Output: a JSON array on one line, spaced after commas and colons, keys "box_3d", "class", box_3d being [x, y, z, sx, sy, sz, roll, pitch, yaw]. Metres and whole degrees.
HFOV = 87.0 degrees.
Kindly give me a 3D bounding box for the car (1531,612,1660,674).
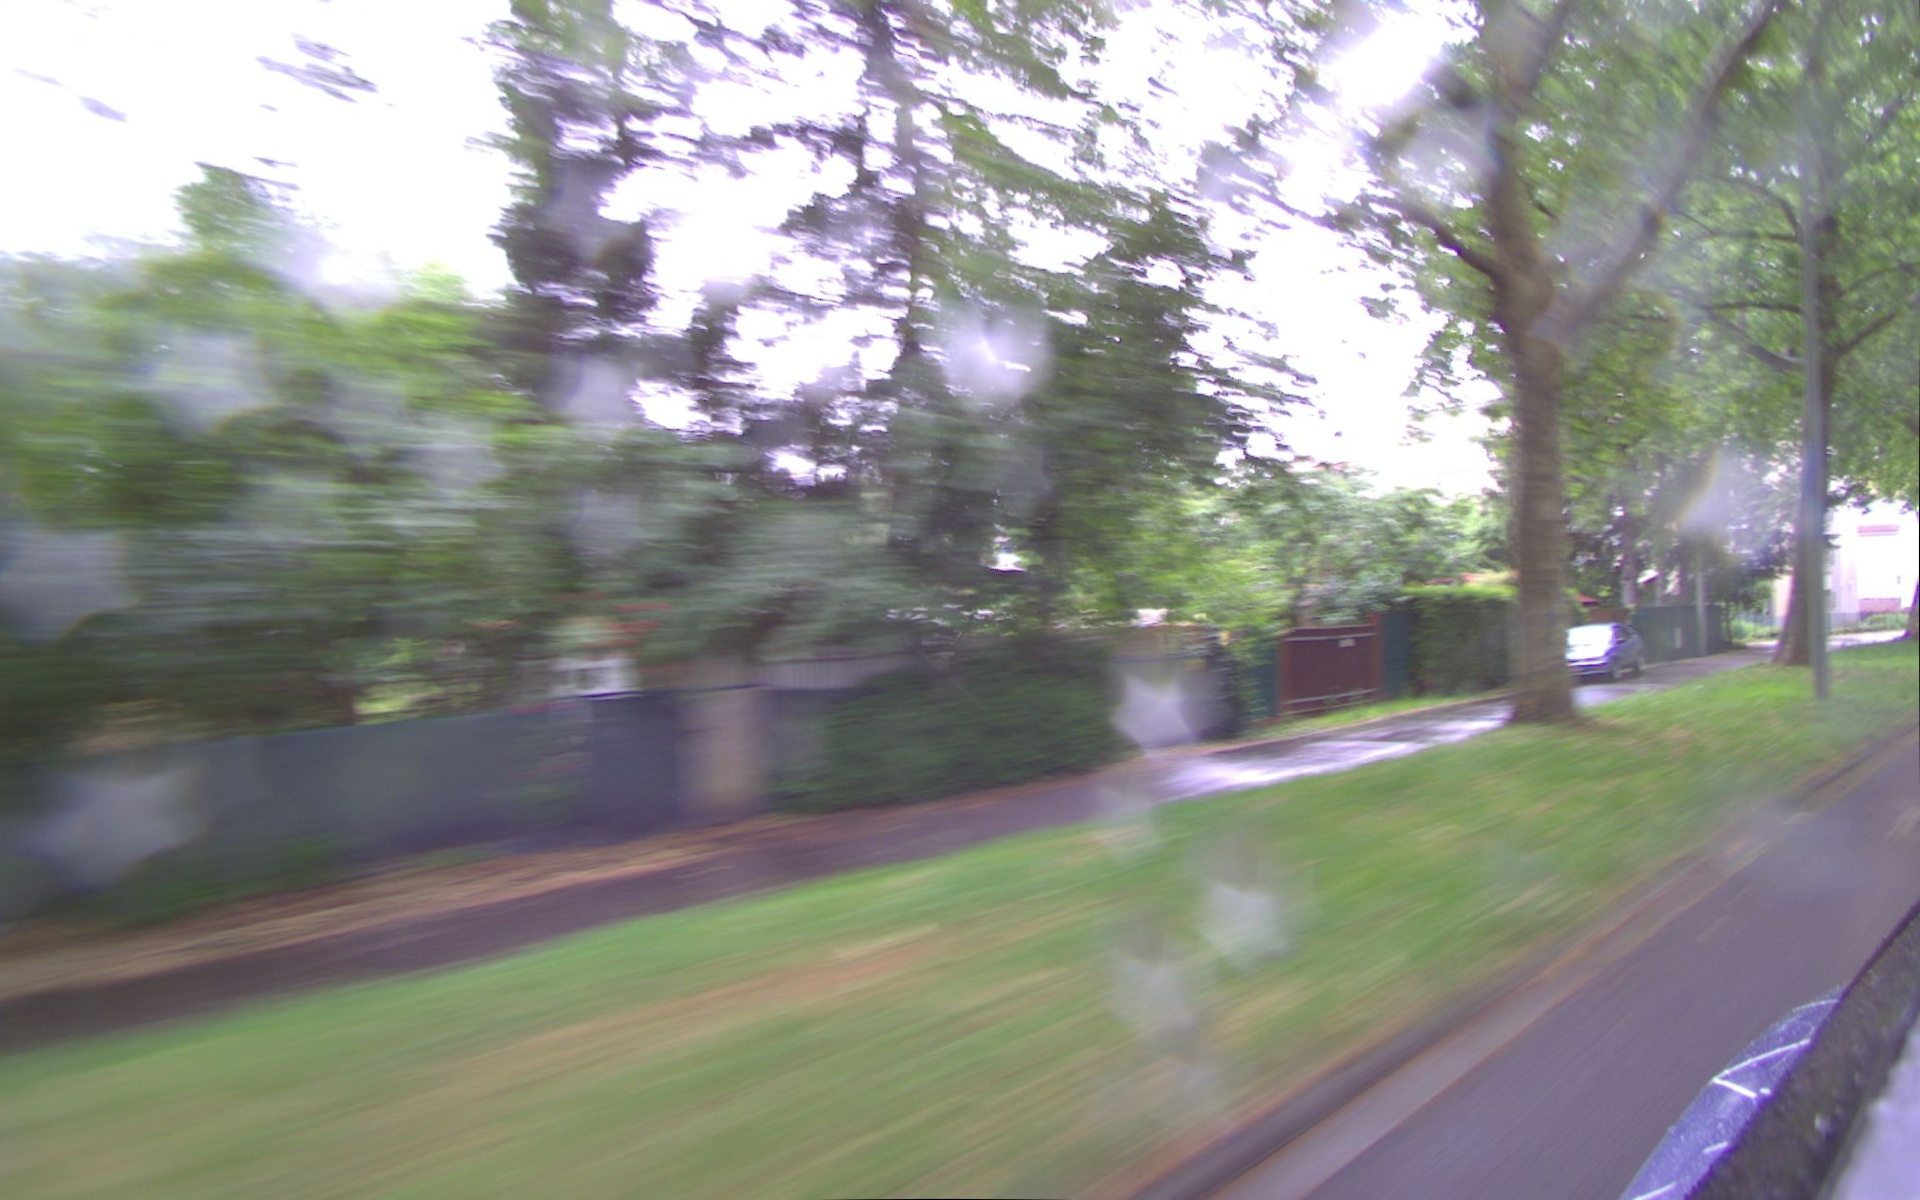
[{"box_3d": [16.477, 1.096, 26.180, 3.933, 1.342, 1.797, -1, -4, -43], "class": "car"}]
